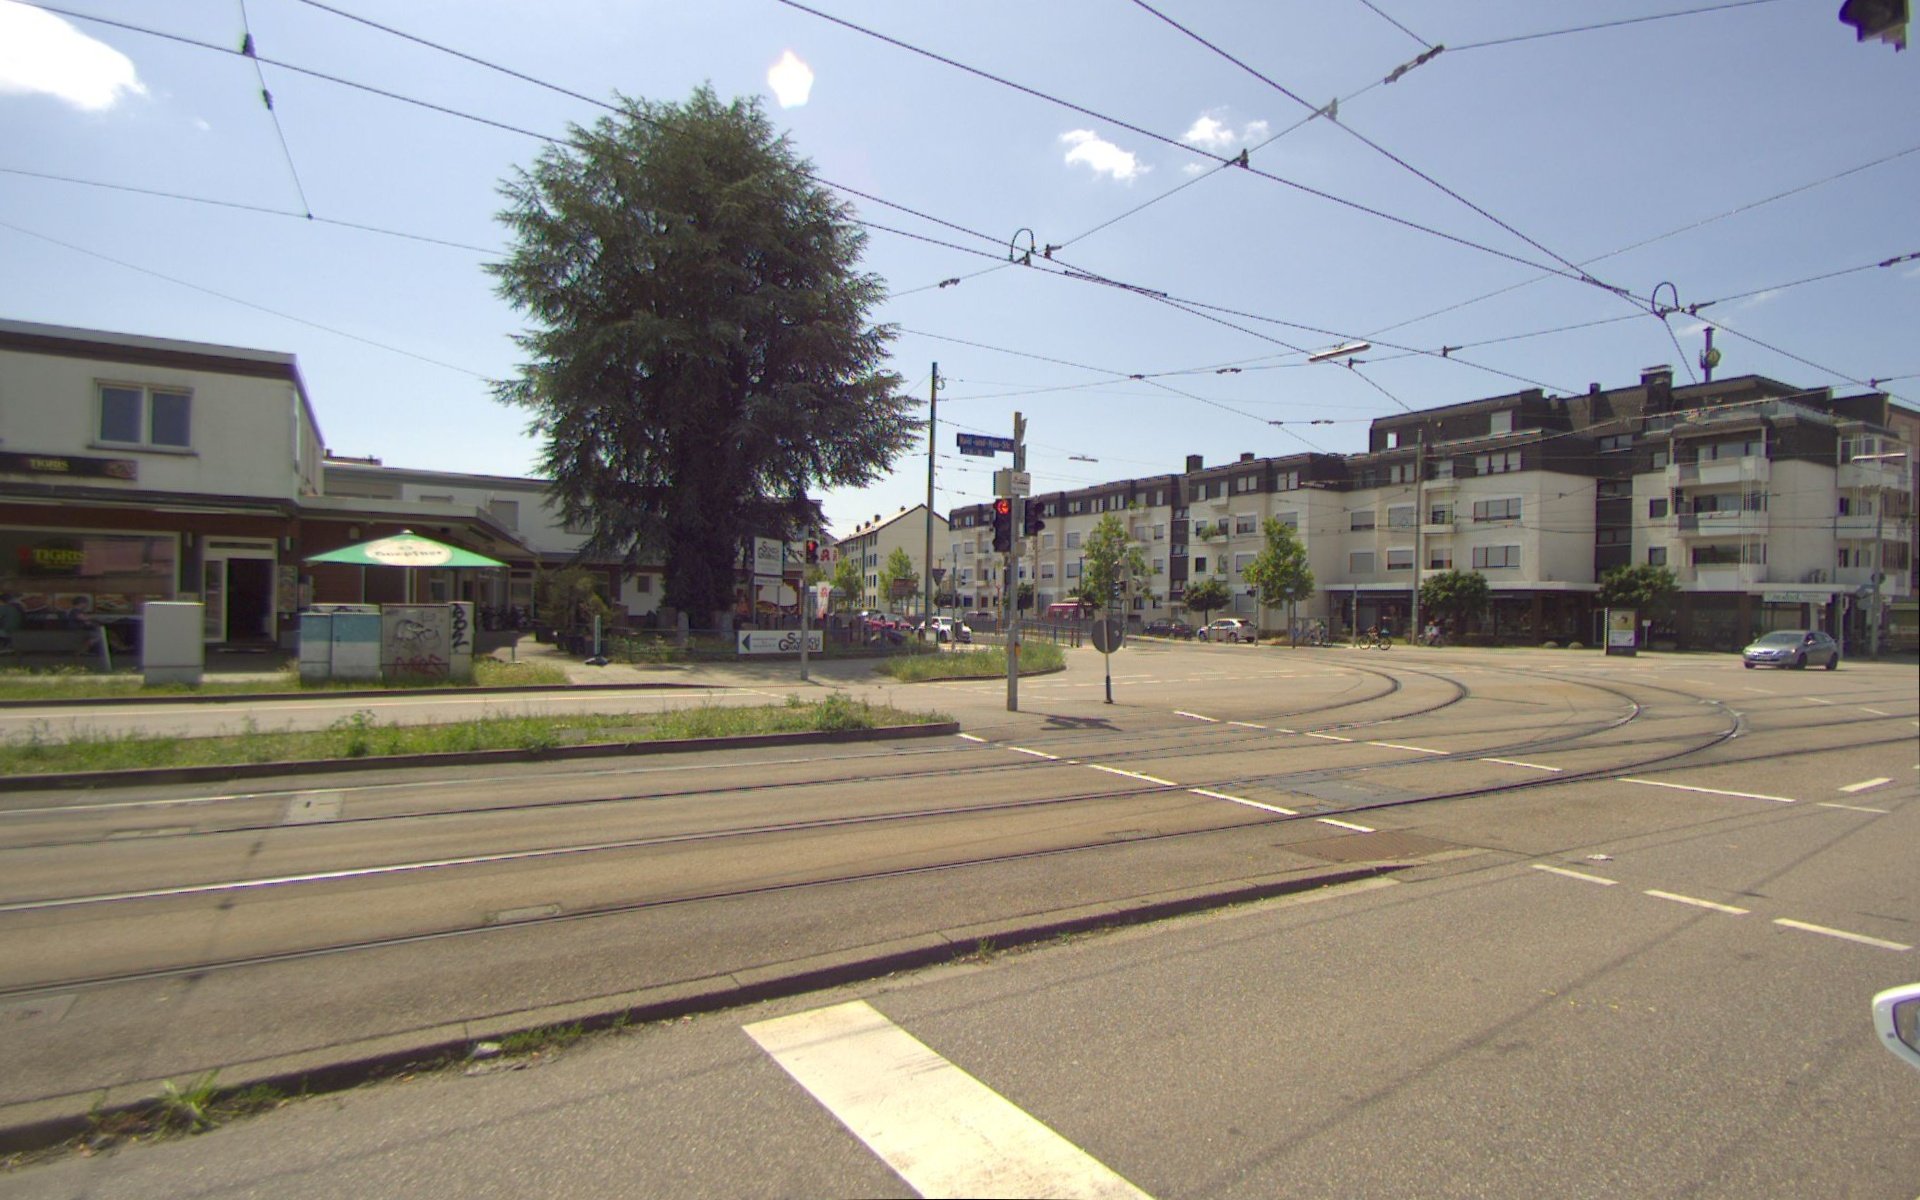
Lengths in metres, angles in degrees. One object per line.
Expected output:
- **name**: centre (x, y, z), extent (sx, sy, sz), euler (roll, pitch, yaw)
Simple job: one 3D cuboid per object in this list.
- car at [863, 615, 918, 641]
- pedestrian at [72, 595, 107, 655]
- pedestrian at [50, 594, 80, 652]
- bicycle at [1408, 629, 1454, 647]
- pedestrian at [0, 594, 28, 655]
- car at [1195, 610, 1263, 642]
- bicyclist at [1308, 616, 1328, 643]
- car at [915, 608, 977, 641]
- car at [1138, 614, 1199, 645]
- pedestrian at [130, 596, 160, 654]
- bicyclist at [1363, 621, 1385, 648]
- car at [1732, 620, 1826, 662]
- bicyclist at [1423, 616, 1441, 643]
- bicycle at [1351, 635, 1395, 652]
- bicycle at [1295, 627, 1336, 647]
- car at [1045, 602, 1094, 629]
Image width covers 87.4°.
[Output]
- **car**: centre (-4.357, 1.789, 62.594), extent (1.976, 1.520, 3.971), euler (2, -3, -29)
- **pedestrian**: centre (-18.951, 0.550, 21.864), extent (0.496, 1.285, 0.317), euler (1, -1, -30)
- **pedestrian**: centre (-19.857, 0.506, 22.296), extent (0.396, 1.262, 0.384), euler (1, -1, -30)
- **bicycle**: centre (26.283, 2.116, 56.077), extent (2.220, 0.947, 0.669), euler (-1, -3, 35)
- **pedestrian**: centre (-20.111, 0.512, 21.211), extent (0.521, 1.285, 0.343), euler (1, -1, -28)
- **car**: centre (17.089, 1.617, 63.925), extent (1.978, 1.938, 3.966), euler (1, -1, -32)
- **bicyclist**: centre (20.147, 1.651, 56.473), extent (0.732, 1.506, 0.843), euler (3, -3, -43)
- **car**: centre (-0.827, 1.425, 56.340), extent (1.877, 1.747, 3.825), euler (2, -3, -29)
- **car**: centre (14.376, 2.077, 69.481), extent (1.978, 2.040, 3.966), euler (2, -3, -31)
- **pedestrian**: centre (-18.551, 0.568, 22.869), extent (0.447, 1.285, 0.339), euler (1, -1, -28)
- **bicyclist**: centre (22.363, 1.885, 54.225), extent (0.950, 1.441, 0.628), euler (-1, -3, 42)
- **car**: centre (31.159, 1.541, 38.158), extent (4.365, 1.491, 1.977), euler (2, -1, -40)
- **bicyclist**: centre (26.330, 1.646, 56.054), extent (0.834, 1.487, 0.654), euler (-1, -3, 34)
- **bicycle**: centre (22.297, 2.326, 54.262), extent (2.226, 0.892, 0.416), euler (-2, -3, 43)
- **bicycle**: centre (20.010, 2.101, 56.590), extent (0.513, 1.115, 2.228), euler (3, -3, -43)
- **car**: centre (8.571, 1.245, 78.795), extent (1.975, 2.040, 3.971), euler (1, -1, -28)
